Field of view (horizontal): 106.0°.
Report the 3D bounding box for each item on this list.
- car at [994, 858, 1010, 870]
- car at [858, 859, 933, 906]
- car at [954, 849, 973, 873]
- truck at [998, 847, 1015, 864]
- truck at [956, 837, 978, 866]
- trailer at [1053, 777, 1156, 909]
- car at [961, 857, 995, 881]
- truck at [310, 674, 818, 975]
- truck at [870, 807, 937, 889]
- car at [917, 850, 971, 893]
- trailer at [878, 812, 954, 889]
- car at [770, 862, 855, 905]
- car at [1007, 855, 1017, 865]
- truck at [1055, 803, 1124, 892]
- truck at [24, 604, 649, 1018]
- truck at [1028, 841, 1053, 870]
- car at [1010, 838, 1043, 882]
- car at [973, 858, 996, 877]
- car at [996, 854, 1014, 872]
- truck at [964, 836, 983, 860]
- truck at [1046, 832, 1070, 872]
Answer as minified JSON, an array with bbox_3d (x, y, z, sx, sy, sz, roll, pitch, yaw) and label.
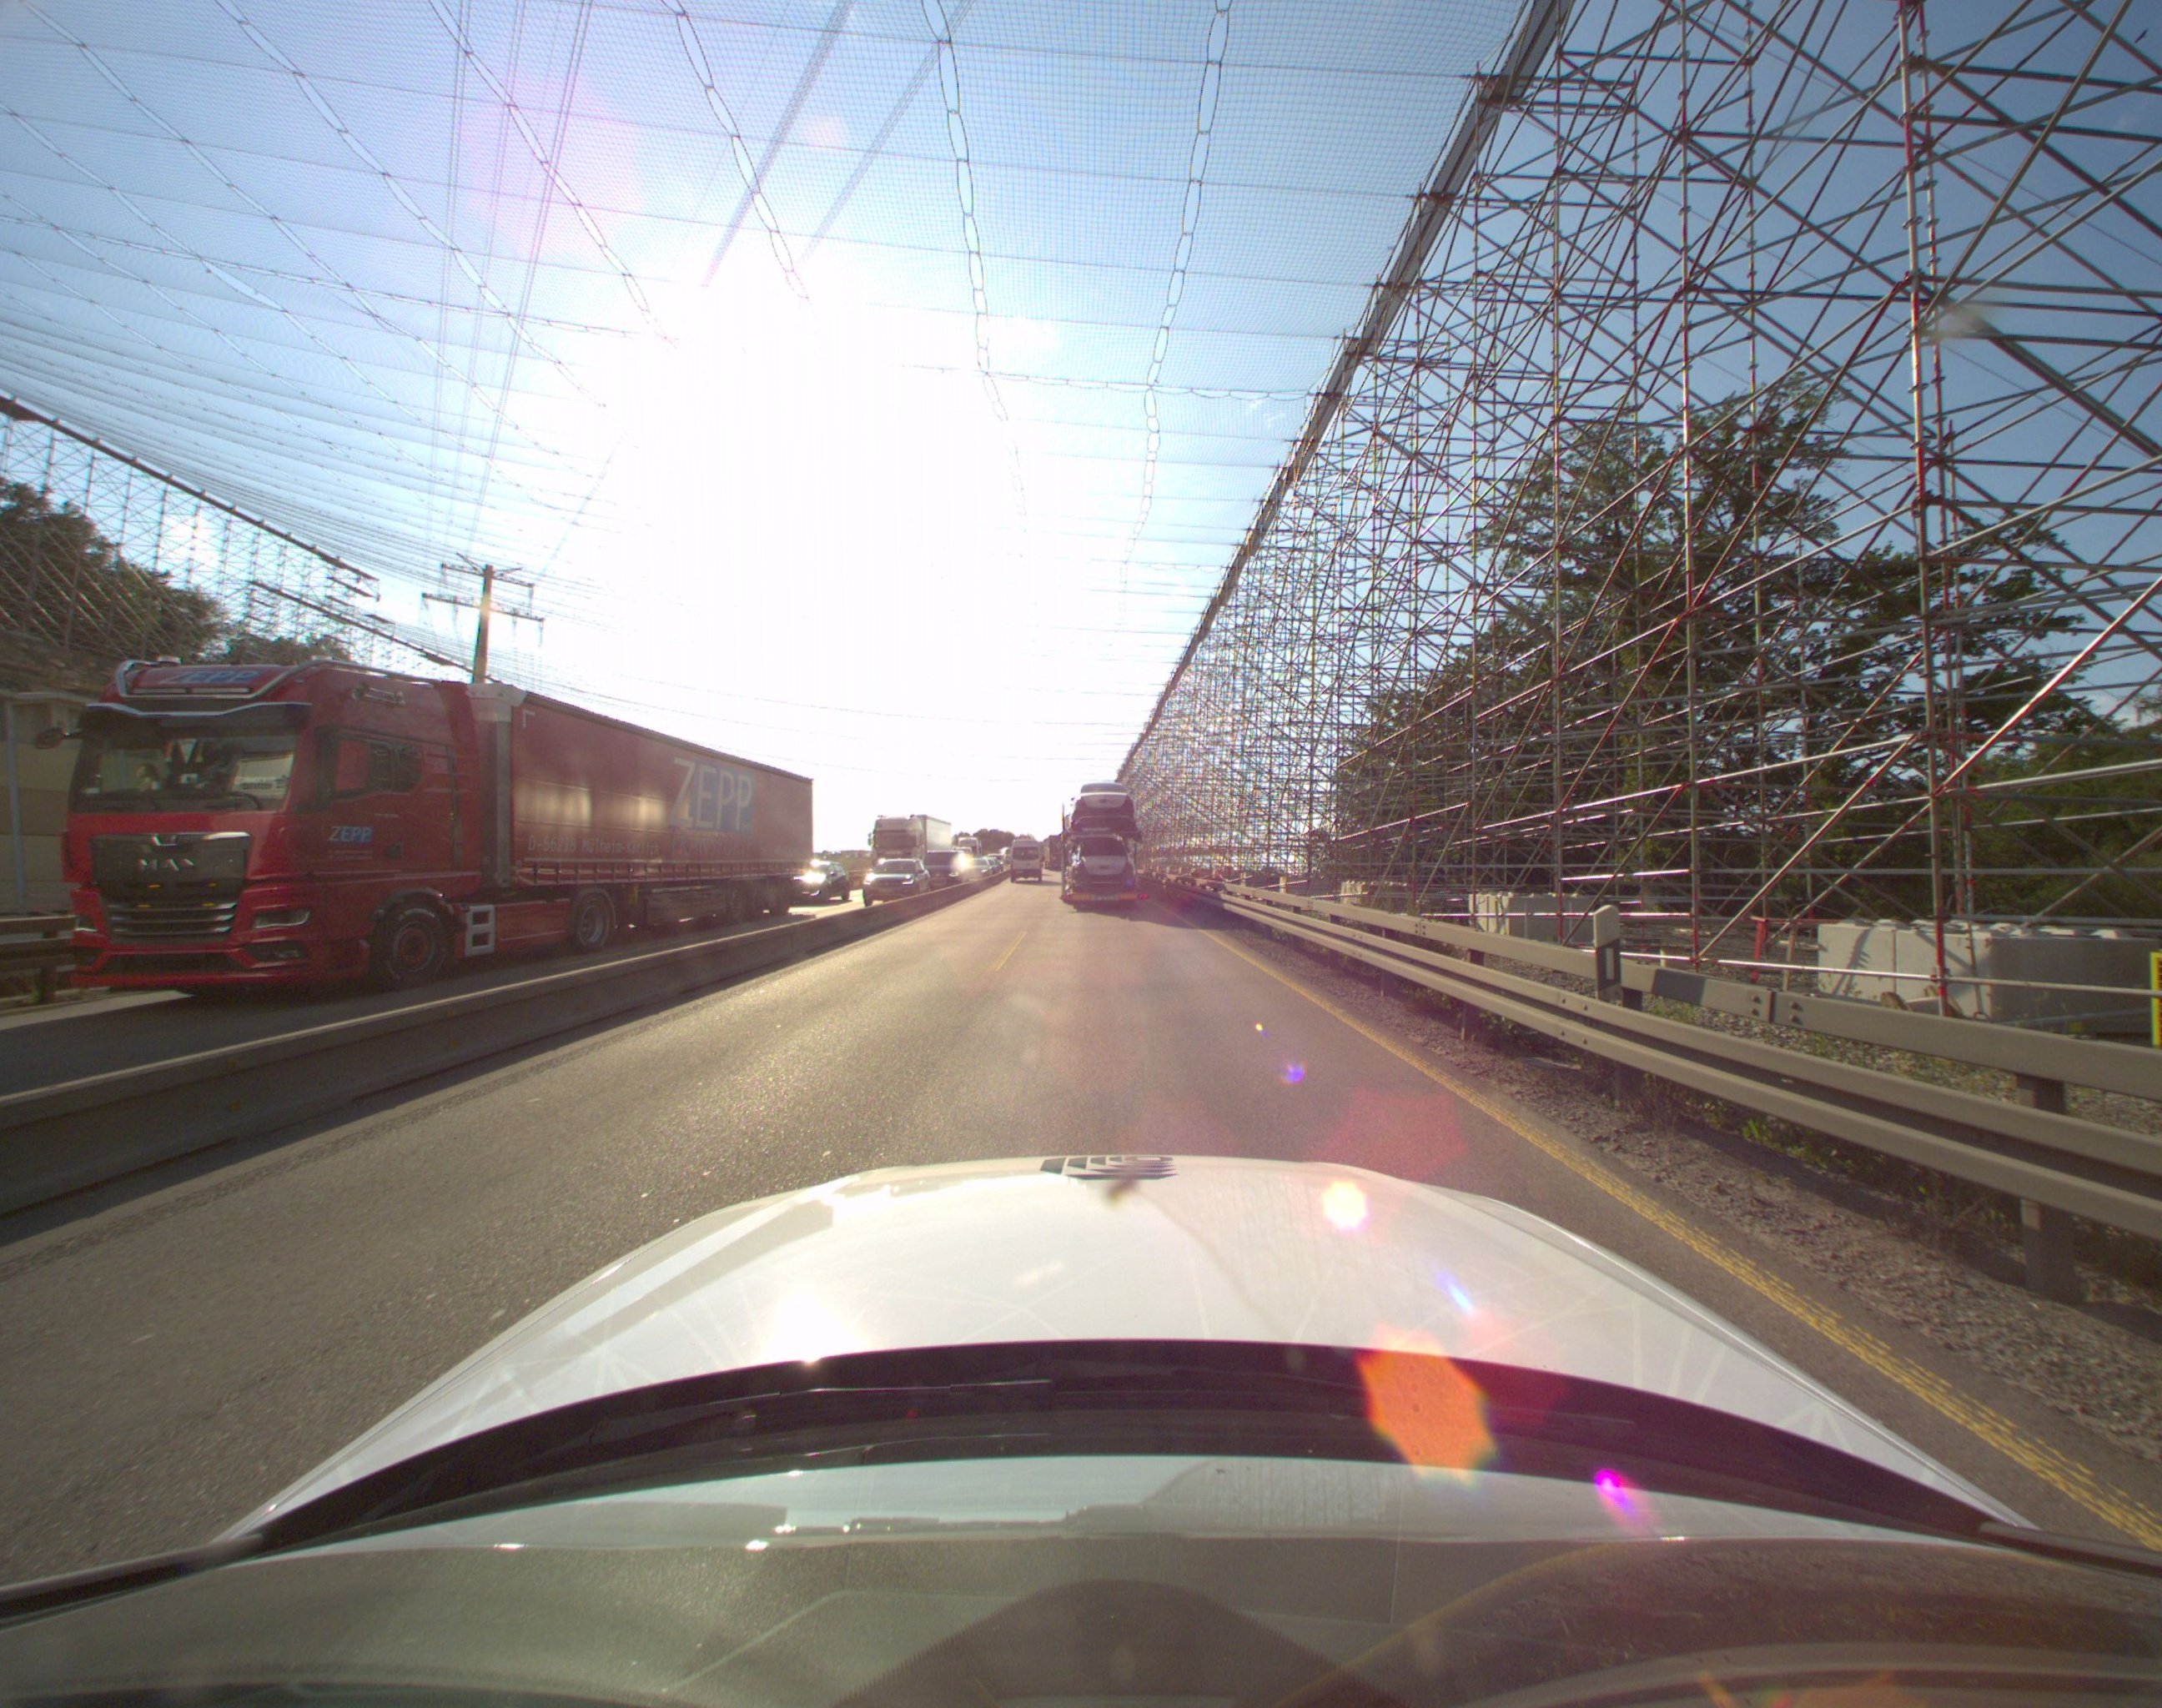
[{"bbox_3d":[-10.206,1.315,105.241,1.836,1.453,3.987,0,0,-10],"label":"car"},{"bbox_3d":[-6.380,0.943,28.515,1.738,1.535,4.264,0,0,-2],"label":"car"},{"bbox_3d":[-12.969,0.732,89.793,1.992,2.541,3.989,0,0,-8],"label":"car"},{"bbox_3d":[-16.848,0.308,184.285,2.618,3.723,9.619,0,0,-12],"label":"truck"},{"bbox_3d":[-14.443,-0.223,103.841,2.592,3.473,12.360,0,0,-7],"label":"truck"},{"bbox_3d":[0.490,-0.226,30.659,2.861,3.725,14.936,-1,-1,-1],"label":"trailer"},{"bbox_3d":[-6.892,0.975,54.902,1.780,1.502,4.750,0,0,-2],"label":"car"},{"bbox_3d":[-9.383,-0.337,18.180,2.779,4.141,13.799,-1,-1,-1],"label":"truck"},{"bbox_3d":[-9.721,-0.284,45.234,2.657,4.230,6.096,-1,-1,-4],"label":"truck"},{"bbox_3d":[-6.586,0.820,39.599,1.869,1.935,4.858,0,0,-1],"label":"car"},{"bbox_3d":[-10.210,-0.150,51.879,2.647,4.233,13.904,0,0,-3],"label":"trailer"},{"bbox_3d":[-9.682,1.010,29.676,1.716,1.447,4.137,0,0,0],"label":"car"},{"bbox_3d":[-12.023,1.064,141.501,1.708,1.618,3.497,-1,-1,-5],"label":"car"},{"bbox_3d":[0.296,-0.234,38.211,2.874,3.702,7.320,-1,-1,-1],"label":"truck"},{"bbox_3d":[-9.243,-0.416,11.540,2.779,4.141,6.675,-1,-1,-1],"label":"truck"},{"bbox_3d":[-6.591,0.224,131.538,3.679,4.220,13.651,-4,0,-3],"label":"truck"},{"bbox_3d":[-3.418,0.424,51.441,1.952,2.621,3.994,-2,-1,-4],"label":"car"},{"bbox_3d":[-7.802,1.068,66.316,1.739,1.543,4.397,0,0,-6],"label":"car"},{"bbox_3d":[-8.446,0.996,90.751,1.832,1.893,3.997,0,0,-2],"label":"car"},{"bbox_3d":[-16.646,-0.891,126.110,2.594,3.473,12.353,0,0,-9],"label":"truck"},{"bbox_3d":[-2.787,-0.234,95.695,2.725,4.386,11.510,0,0,-2],"label":"truck"}]
